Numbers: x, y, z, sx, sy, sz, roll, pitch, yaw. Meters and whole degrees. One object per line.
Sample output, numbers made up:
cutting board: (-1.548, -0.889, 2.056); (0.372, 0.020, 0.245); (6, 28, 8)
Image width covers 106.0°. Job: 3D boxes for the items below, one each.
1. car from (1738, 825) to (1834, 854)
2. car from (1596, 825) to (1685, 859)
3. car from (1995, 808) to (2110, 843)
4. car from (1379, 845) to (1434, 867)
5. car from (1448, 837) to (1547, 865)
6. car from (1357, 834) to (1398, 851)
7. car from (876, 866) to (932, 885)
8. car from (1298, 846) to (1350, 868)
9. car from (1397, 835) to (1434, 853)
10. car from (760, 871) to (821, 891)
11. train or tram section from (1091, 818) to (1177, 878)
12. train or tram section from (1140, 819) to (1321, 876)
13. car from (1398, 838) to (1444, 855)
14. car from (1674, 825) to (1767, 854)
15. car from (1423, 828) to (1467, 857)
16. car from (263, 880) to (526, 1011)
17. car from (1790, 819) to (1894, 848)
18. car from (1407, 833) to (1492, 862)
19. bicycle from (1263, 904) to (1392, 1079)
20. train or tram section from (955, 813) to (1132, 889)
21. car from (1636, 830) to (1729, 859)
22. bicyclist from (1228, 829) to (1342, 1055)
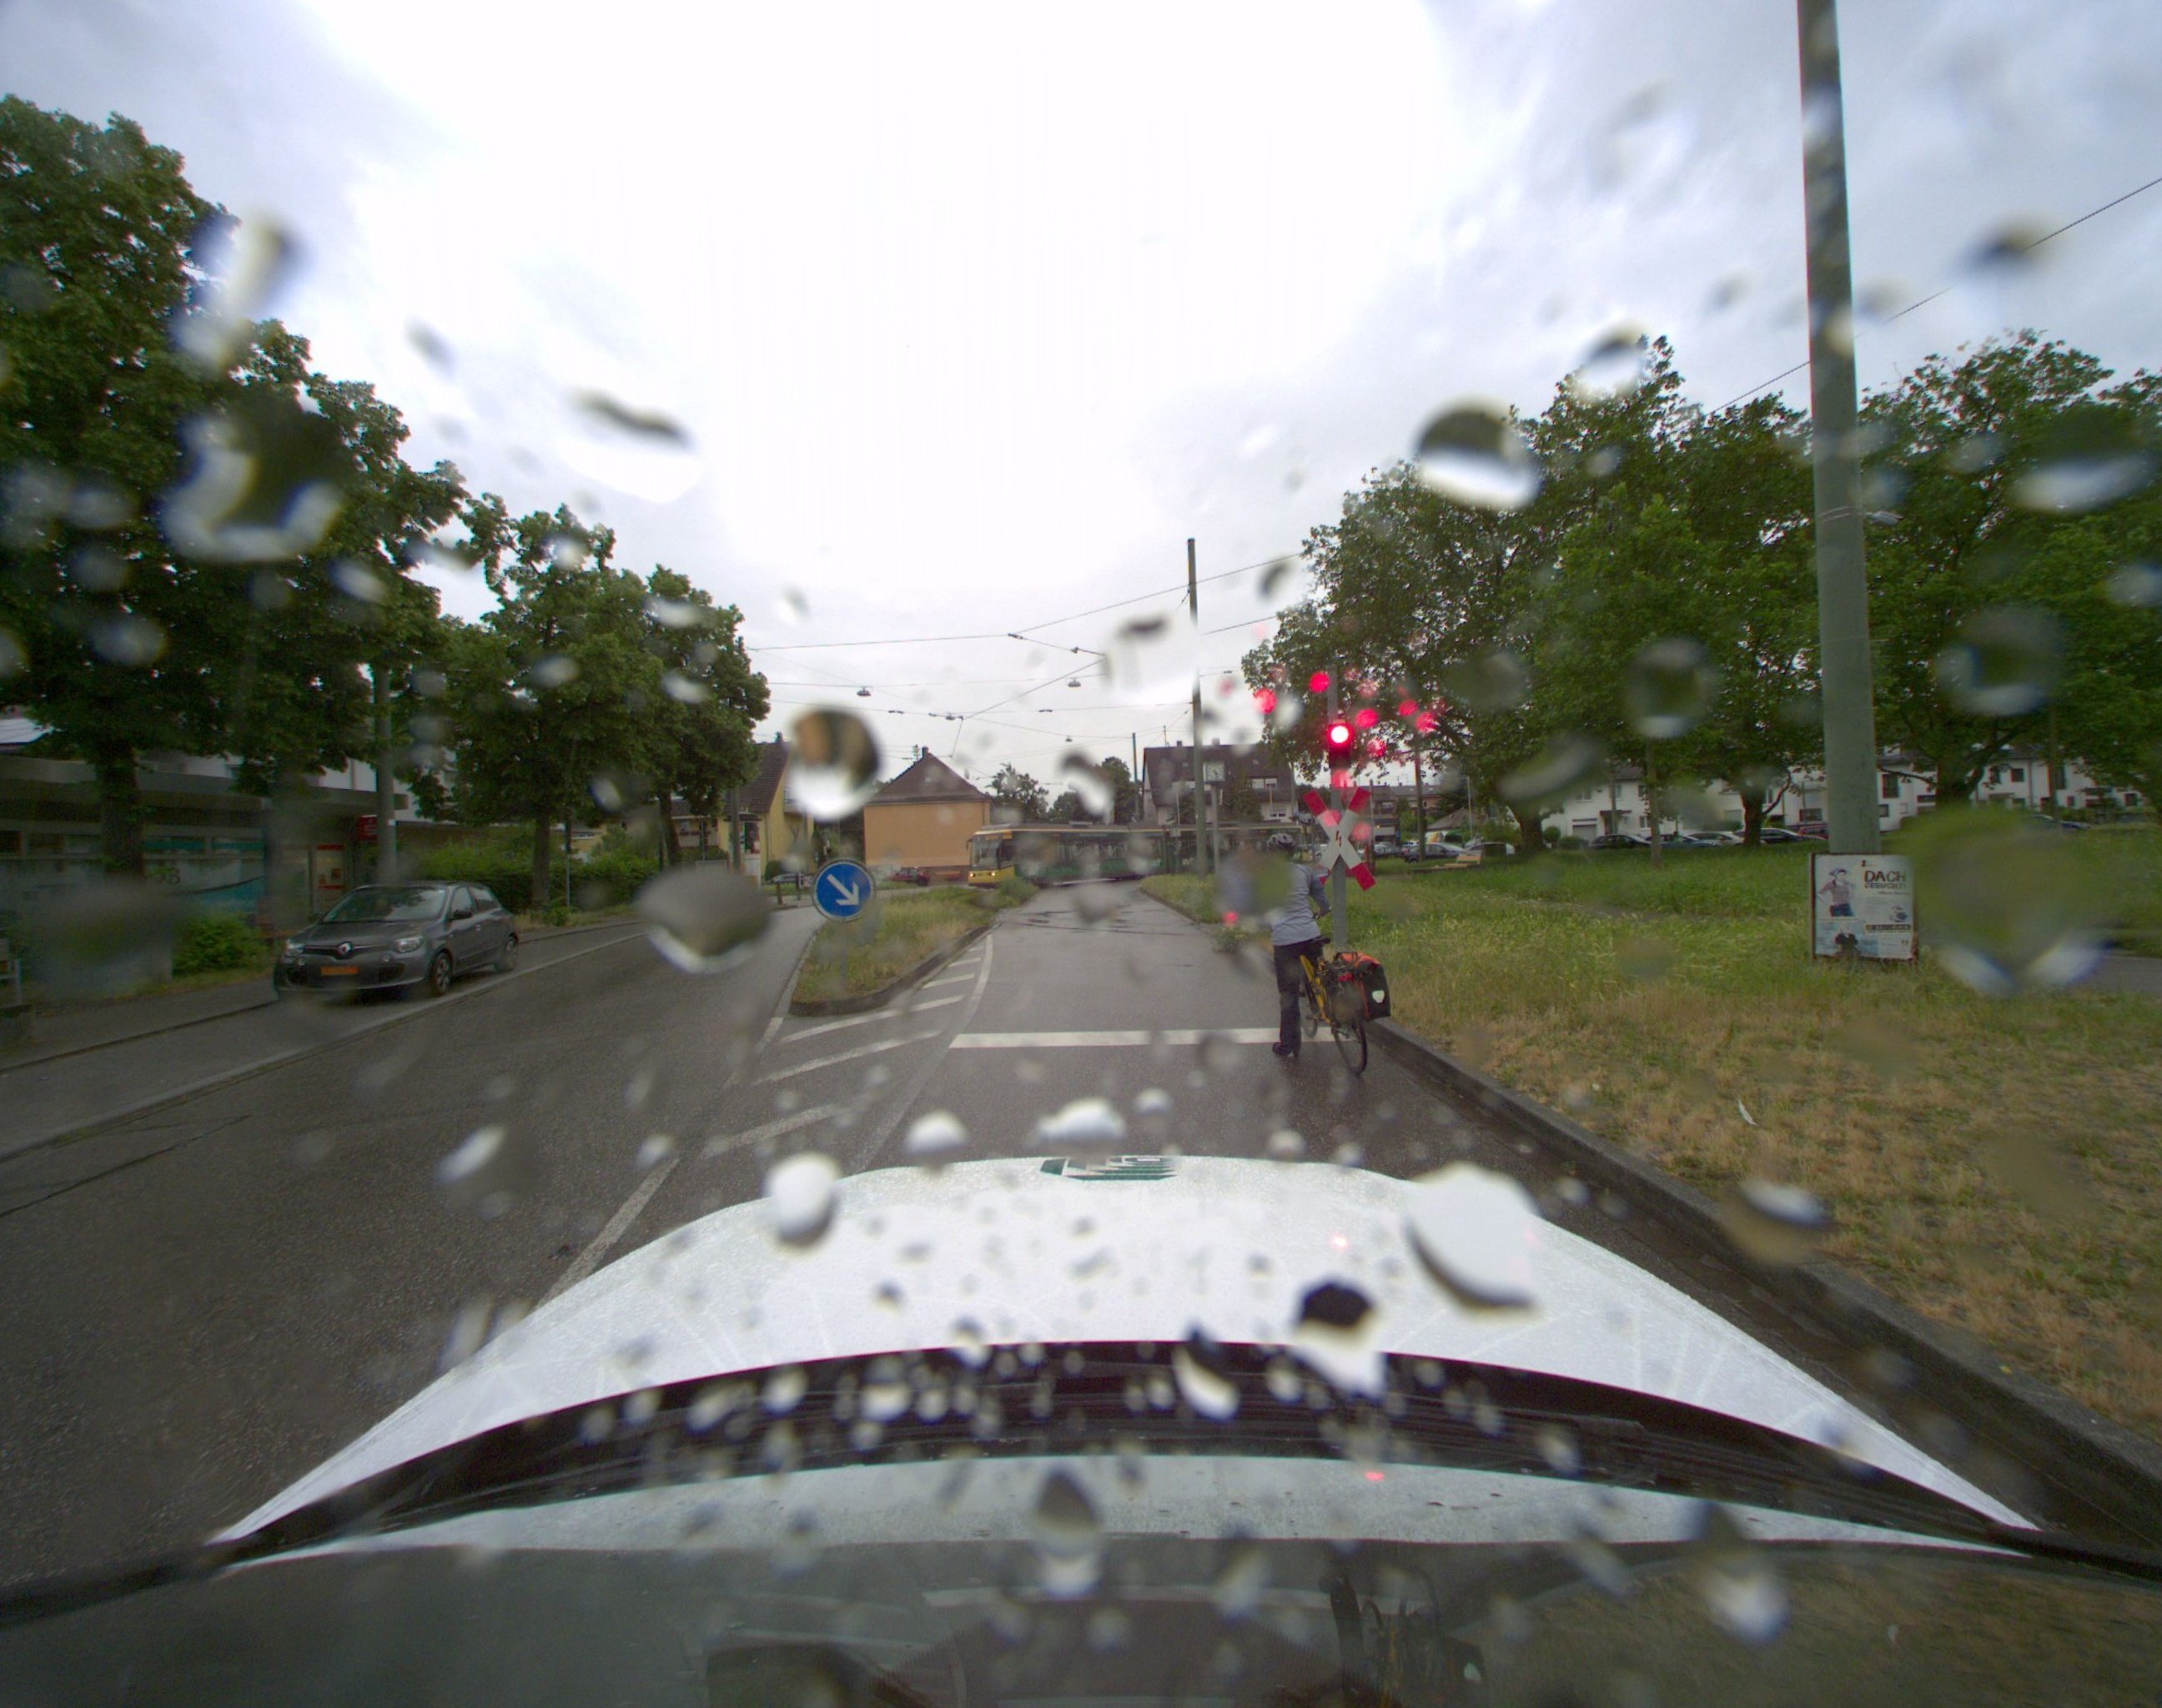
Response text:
car: (39.262, -0.786, 45.405); (1.821, 1.495, 3.867); (0, -1, -44)
car: (30.538, -0.617, 44.530); (1.821, 1.798, 3.721); (0, -1, -44)
car: (54.632, -1.580, 45.856); (1.815, 1.765, 3.879); (0, -1, -29)
car: (25.893, 0.199, 64.951); (3.670, 1.701, 1.891); (0, -1, 2)
car: (20.502, -0.136, 40.245); (3.964, 1.285, 1.851); (0, -1, 9)
car: (33.142, -1.246, 91.033); (3.968, 1.791, 2.003); (0, -1, 4)
car: (-13.664, 1.644, 63.070); (3.979, 1.456, 1.831); (0, -1, -5)
car: (19.312, 0.244, 64.806); (3.670, 1.701, 1.891); (0, -1, 2)
car: (39.077, -1.108, 95.188); (1.998, 2.014, 3.978); (0, -1, -16)
car: (-22.109, 2.022, 62.025); (3.979, 1.456, 1.831); (0, -1, -5)
train or tram section: (3.319, -0.403, 50.451); (2.735, 3.552, 5.018); (0, 1, 43)
train or tram section: (10.305, -0.457, 54.995); (13.164, 3.553, 2.745); (0, 0, -28)
car: (35.423, -0.790, 84.943); (3.971, 1.640, 1.847); (0, -1, 2)
car: (35.704, -0.759, 45.518); (1.821, 1.495, 3.867); (0, -1, -44)
car: (32.573, -0.981, 72.991); (1.987, 2.443, 4.354); (0, -1, 1)
car: (-9.685, 1.175, 11.876); (1.621, 1.496, 3.645); (0, -1, -18)
car: (42.625, -1.093, 45.679); (1.814, 1.495, 3.881); (0, -1, -27)
car: (20.256, -0.329, 44.898); (1.821, 1.495, 3.867); (0, -1, -44)
bicycle: (1.791, 0.945, 6.136); (0.444, 1.004, 1.728); (-2, 0, 1)
train or tram section: (-1.537, -0.255, 43.800); (2.734, 3.552, 12.282); (0, 1, 34)
car: (33.200, -0.502, 44.988); (1.821, 1.495, 3.867); (0, -1, -44)
bicyclist: (1.548, 0.635, 6.309); (0.665, 1.626, 0.853); (0, -1, 1)
